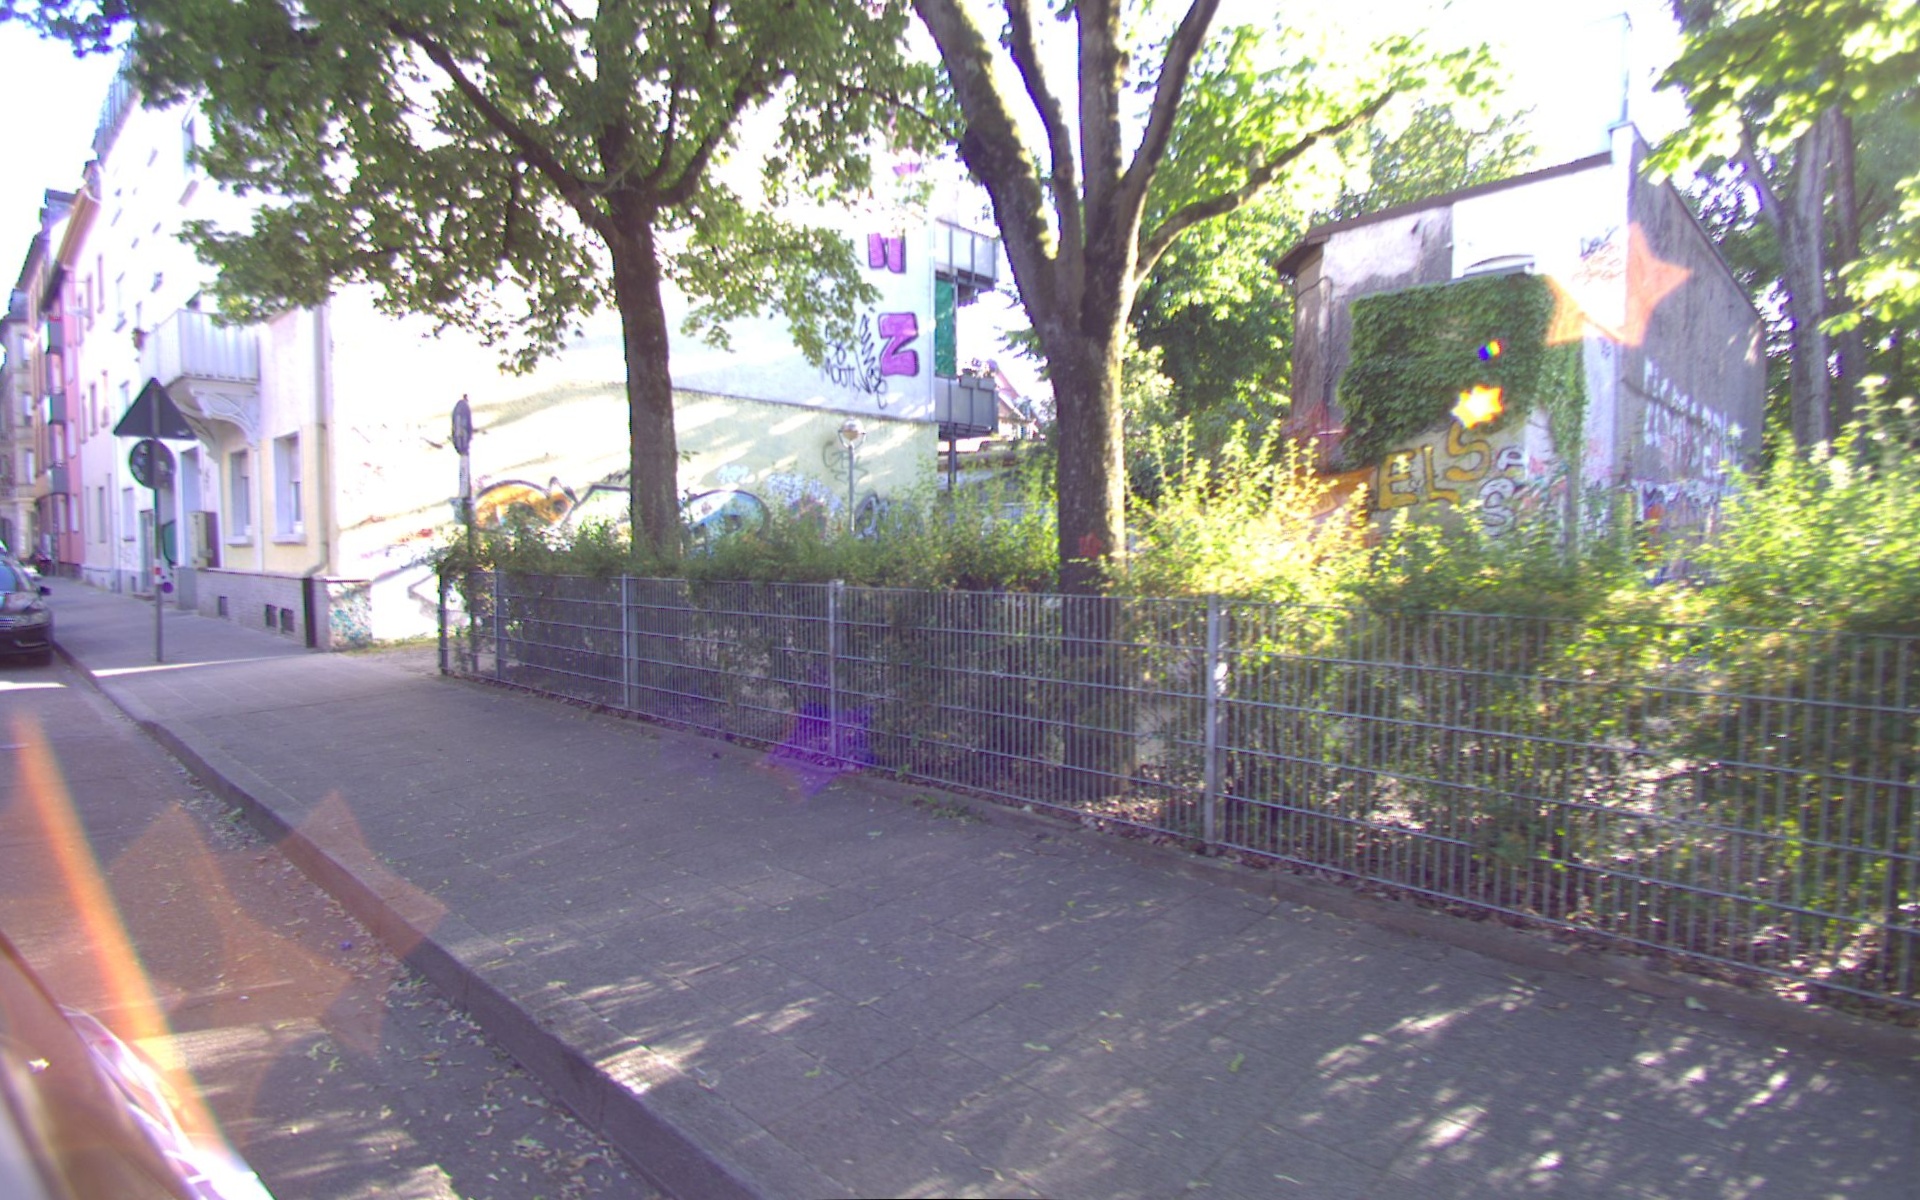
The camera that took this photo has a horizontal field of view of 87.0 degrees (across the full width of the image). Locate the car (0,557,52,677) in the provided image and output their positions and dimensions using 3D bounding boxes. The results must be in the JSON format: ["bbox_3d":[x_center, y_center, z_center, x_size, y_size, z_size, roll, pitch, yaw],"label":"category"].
[{"bbox_3d":[-13.636,0.127,13.650,4.394,1.454,1.759,3,1,44],"label":"car"}]

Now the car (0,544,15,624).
[{"bbox_3d":[-23.014,-0.448,23.156,4.316,1.754,1.730,3,1,43],"label":"car"}]

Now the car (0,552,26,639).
[{"bbox_3d":[-17.741,-0.138,17.989,1.575,1.461,3.489,2,1,-44],"label":"car"}]
